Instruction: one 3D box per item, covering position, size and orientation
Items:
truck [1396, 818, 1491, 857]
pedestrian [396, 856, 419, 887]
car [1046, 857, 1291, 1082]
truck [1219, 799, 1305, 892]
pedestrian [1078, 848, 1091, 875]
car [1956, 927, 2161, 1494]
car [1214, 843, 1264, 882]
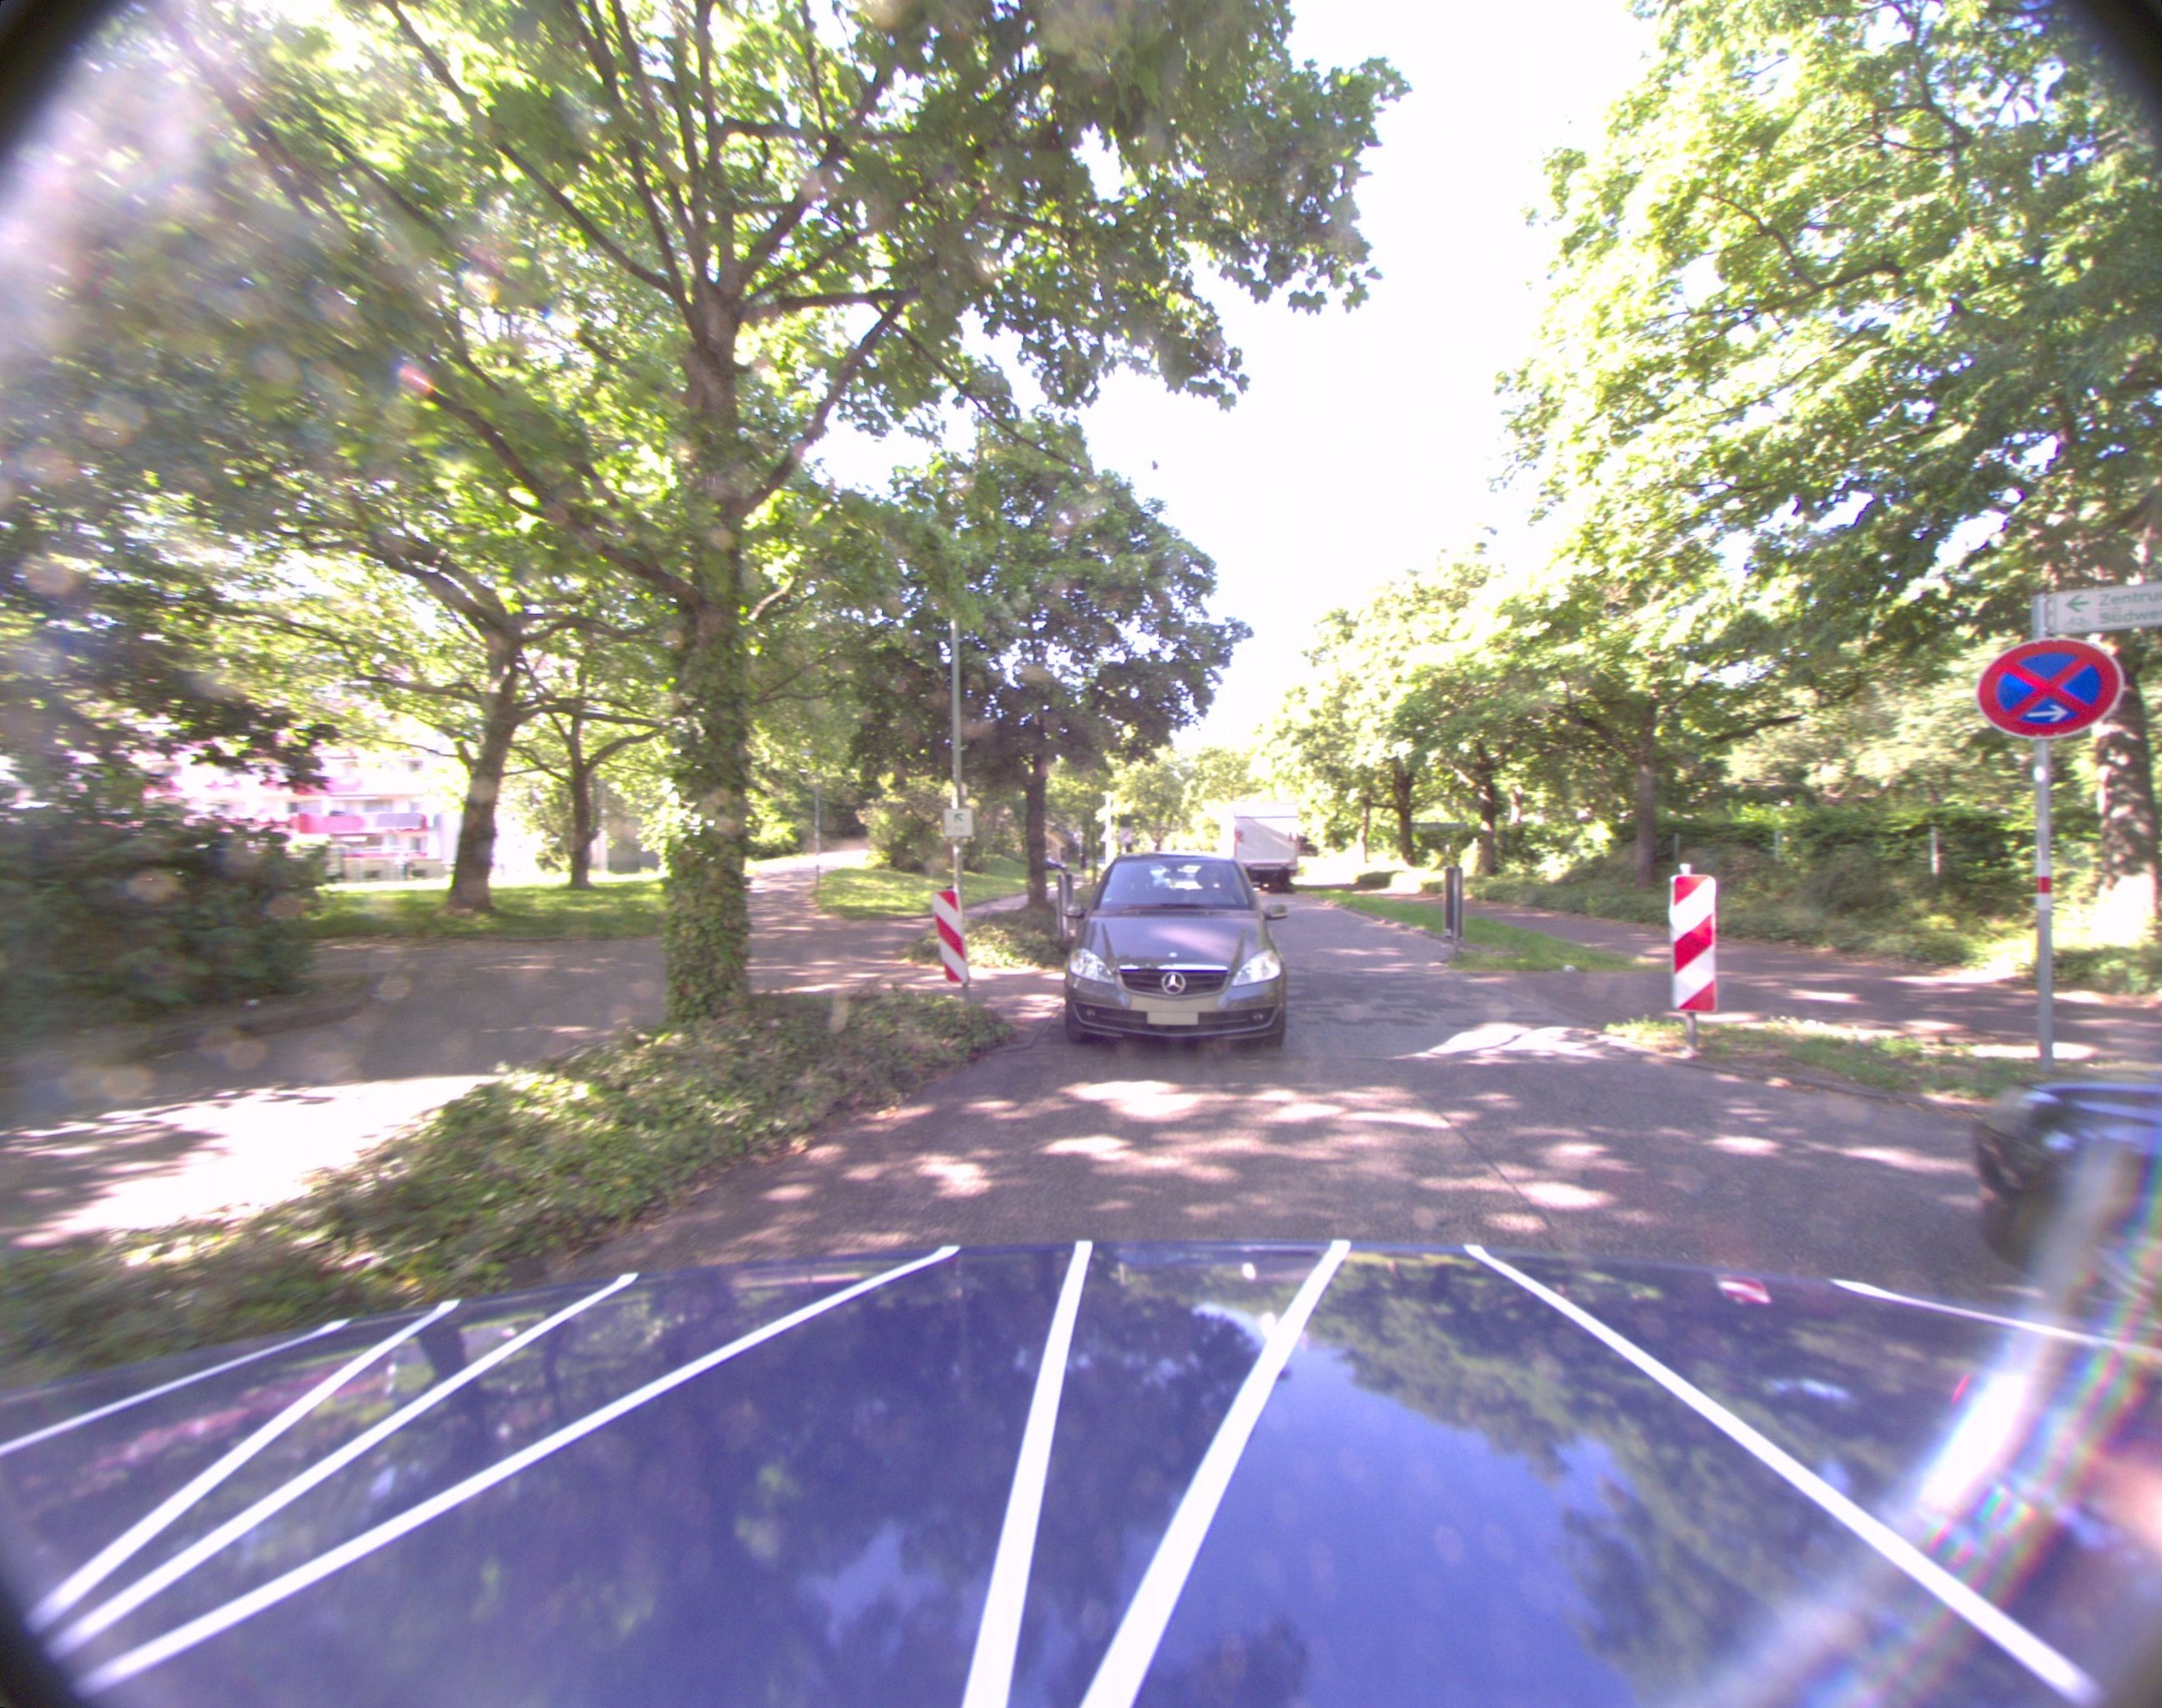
[{"bbox_3d":[19.023,-0.850,40.035,3.995,2.002,2.205,0,1,5],"label":"truck"},{"bbox_3d":[-34.837,0.892,39.330,0.627,1.579,0.679,-3,1,-23],"label":"pedestrian"},{"bbox_3d":[0.805,0.852,7.496,1.733,1.578,4.001,-1,0,5],"label":"car"},{"bbox_3d":[7.856,-0.345,33.991,2.740,3.620,8.104,-1,0,7],"label":"truck"},{"bbox_3d":[0.264,0.537,52.168,0.792,1.821,0.671,-1,1,7],"label":"pedestrian"},{"bbox_3d":[3.531,0.957,0.571,1.604,1.418,3.652,1,0,3],"label":"car"},{"bbox_3d":[9.010,0.434,43.772,2.124,2.083,6.587,-1,0,6],"label":"car"}]
